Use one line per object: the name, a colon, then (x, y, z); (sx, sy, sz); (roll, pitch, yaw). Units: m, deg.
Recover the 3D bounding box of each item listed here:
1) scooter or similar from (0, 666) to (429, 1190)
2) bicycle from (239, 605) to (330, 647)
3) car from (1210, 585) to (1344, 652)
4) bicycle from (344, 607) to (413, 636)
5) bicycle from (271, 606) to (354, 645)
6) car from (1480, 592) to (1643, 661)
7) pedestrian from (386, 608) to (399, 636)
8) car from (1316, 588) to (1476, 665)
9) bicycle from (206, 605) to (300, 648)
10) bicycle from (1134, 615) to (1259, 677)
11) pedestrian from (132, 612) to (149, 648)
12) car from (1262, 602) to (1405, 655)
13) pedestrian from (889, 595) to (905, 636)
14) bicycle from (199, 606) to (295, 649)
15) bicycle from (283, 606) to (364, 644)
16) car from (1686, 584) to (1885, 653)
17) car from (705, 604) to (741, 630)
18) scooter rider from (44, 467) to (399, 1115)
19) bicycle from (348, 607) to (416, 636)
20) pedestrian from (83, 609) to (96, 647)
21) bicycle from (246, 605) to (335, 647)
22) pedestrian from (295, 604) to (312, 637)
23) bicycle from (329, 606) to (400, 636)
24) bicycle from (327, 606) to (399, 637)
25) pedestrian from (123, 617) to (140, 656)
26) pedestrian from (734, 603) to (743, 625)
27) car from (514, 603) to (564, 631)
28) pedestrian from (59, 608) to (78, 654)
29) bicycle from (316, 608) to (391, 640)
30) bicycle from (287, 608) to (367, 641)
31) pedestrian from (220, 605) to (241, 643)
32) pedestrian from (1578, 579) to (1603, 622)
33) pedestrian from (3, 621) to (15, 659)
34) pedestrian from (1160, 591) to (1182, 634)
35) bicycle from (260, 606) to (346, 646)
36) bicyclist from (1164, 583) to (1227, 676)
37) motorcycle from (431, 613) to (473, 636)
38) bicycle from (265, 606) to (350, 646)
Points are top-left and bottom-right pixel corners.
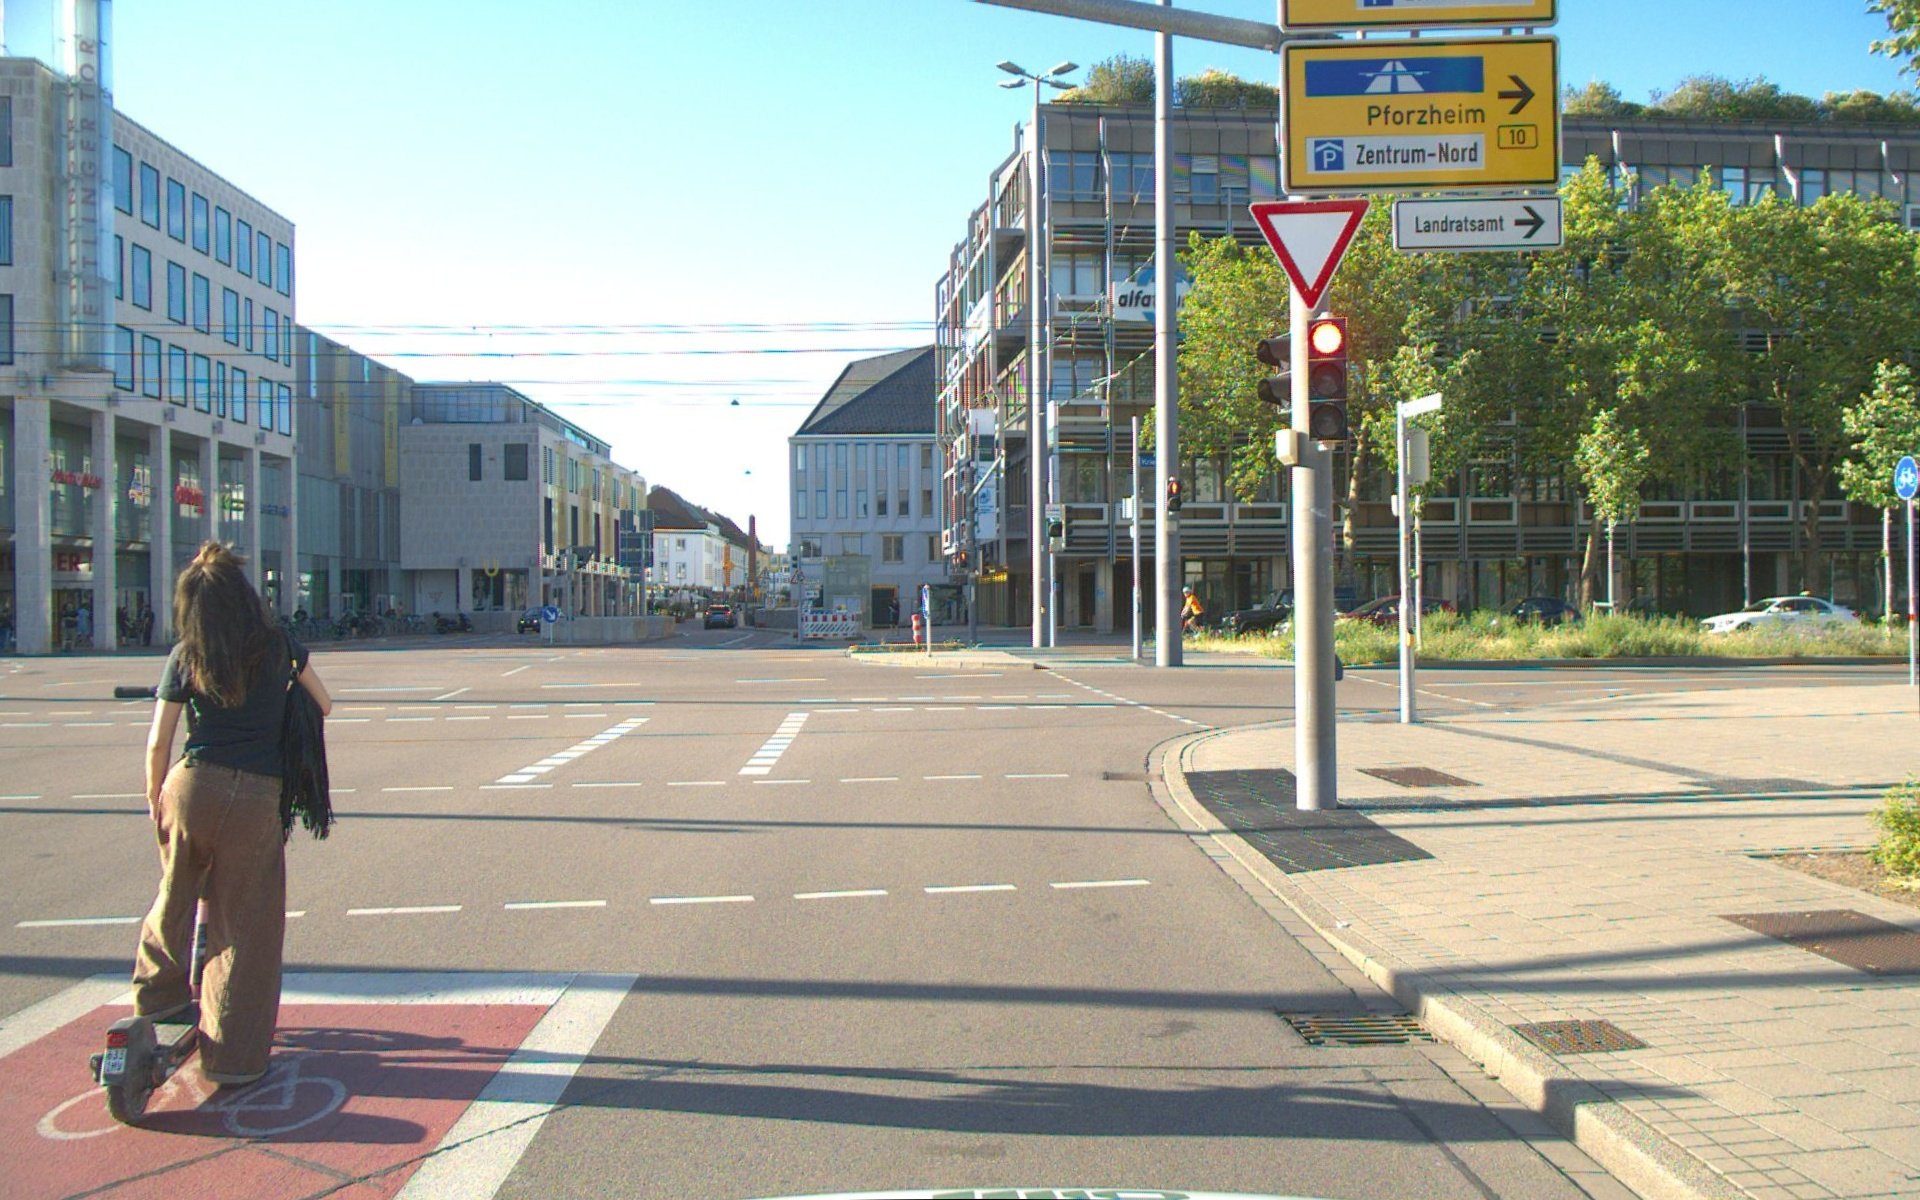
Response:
scooter or similar: (-2.199, 0.845, 4.925); (0.713, 1.223, 1.664); (0, 0, -1)
bicycle: (-28.865, 1.088, 70.712); (3.427, 1.726, 1.114); (-1, 0, -10)
car: (10.307, 0.597, 53.919); (3.908, 2.049, 1.999); (1, 0, -3)
bicycle: (-31.781, 1.167, 90.399); (3.430, 1.554, 0.984); (-1, 0, -12)
bicycle: (-30.036, 1.179, 76.780); (3.430, 1.726, 0.984); (-1, 0, -12)
car: (18.830, 0.820, 51.879); (4.359, 2.049, 1.998); (1, 0, -6)
pedestrian: (-34.382, 1.346, 100.205); (0.684, 1.671, 0.693); (-1, 0, -12)
car: (12.234, 0.732, 46.578); (3.908, 2.049, 1.999); (1, 0, -3)
bicycle: (-29.549, 1.101, 69.210); (3.427, 1.726, 1.114); (-1, 0, -10)
bicycle: (6.750, 1.301, 47.222); (3.427, 1.688, 0.929); (-1, 0, -10)
pedestrian: (-34.789, 1.262, 70.225); (0.472, 1.537, 0.513); (-1, 0, -5)
car: (11.442, 0.863, 50.815); (3.908, 1.534, 1.867); (1, 0, -4)
pedestrian: (-2.645, 0.640, 69.489); (0.650, 1.687, 0.755); (-1, 0, -4)
bicycle: (-29.320, 1.113, 68.032); (3.427, 1.726, 1.114); (-1, 0, -10)
bicycle: (-30.335, 1.188, 78.866); (3.430, 1.726, 0.984); (-1, 0, -12)
car: (26.175, 0.577, 52.575); (5.332, 2.049, 2.096); (1, 0, -3)
car: (-15.495, 1.095, 108.162); (2.157, 1.635, 4.320); (-1, 0, -6)
scooter rider: (-2.198, 0.530, 5.020); (0.713, 1.806, 0.811); (0, 0, -1)
bicycle: (-31.945, 1.198, 91.424); (3.430, 1.554, 0.984); (-1, 0, -12)
pedestrian: (-36.626, 1.176, 69.593); (0.379, 1.613, 0.367); (-1, 0, -6)
bicycle: (-29.096, 1.124, 71.924); (3.427, 1.726, 1.114); (-1, 0, -10)
pedestrian: (-33.368, 1.034, 84.030); (0.641, 1.671, 0.693); (-1, 0, -9)
bicycle: (-31.387, 1.108, 87.243); (3.430, 1.554, 0.984); (-1, 0, -12)
bicycle: (-31.070, 1.120, 86.126); (3.430, 1.554, 0.984); (-1, 0, -12)
pedestrian: (-34.817, 1.544, 69.518); (0.472, 1.613, 0.513); (-1, 0, -5)
pedestrian: (-14.472, 0.937, 108.096); (0.598, 1.436, 0.569); (-1, 0, -7)
car: (-23.853, 0.946, 93.803); (1.953, 1.512, 3.999); (-1, 0, -2)
pedestrian: (-32.578, 1.114, 60.444); (0.535, 1.671, 0.544); (-1, 0, -33)
bicycle: (-30.882, 1.212, 84.265); (3.430, 1.554, 0.984); (-1, 0, -12)
bicycle: (-30.539, 1.171, 79.855); (3.430, 1.554, 0.984); (-1, 0, -12)
pedestrian: (-32.974, 1.073, 74.737); (0.776, 1.671, 0.688); (-1, 0, -30)
pedestrian: (25.200, 0.018, 66.083); (0.651, 1.687, 0.740); (-1, 0, -8)
pedestrian: (-36.119, 1.526, 62.819); (0.382, 1.437, 0.433); (-1, 0, -29)
pedestrian: (8.445, 0.506, 66.192); (0.715, 1.687, 0.649); (-1, 0, -8)
bicycle: (-29.571, 1.169, 74.493); (3.430, 1.726, 0.984); (-1, 0, -12)
bicyclist: (6.721, 0.832, 47.223); (1.539, 2.625, 0.930); (-1, 0, -10)
motorcycle: (-29.952, 1.435, 97.593); (2.230, 1.341, 0.719); (-1, 0, -6)
bicycle: (-29.795, 1.178, 75.581); (3.430, 1.726, 0.984); (-1, 0, -12)
